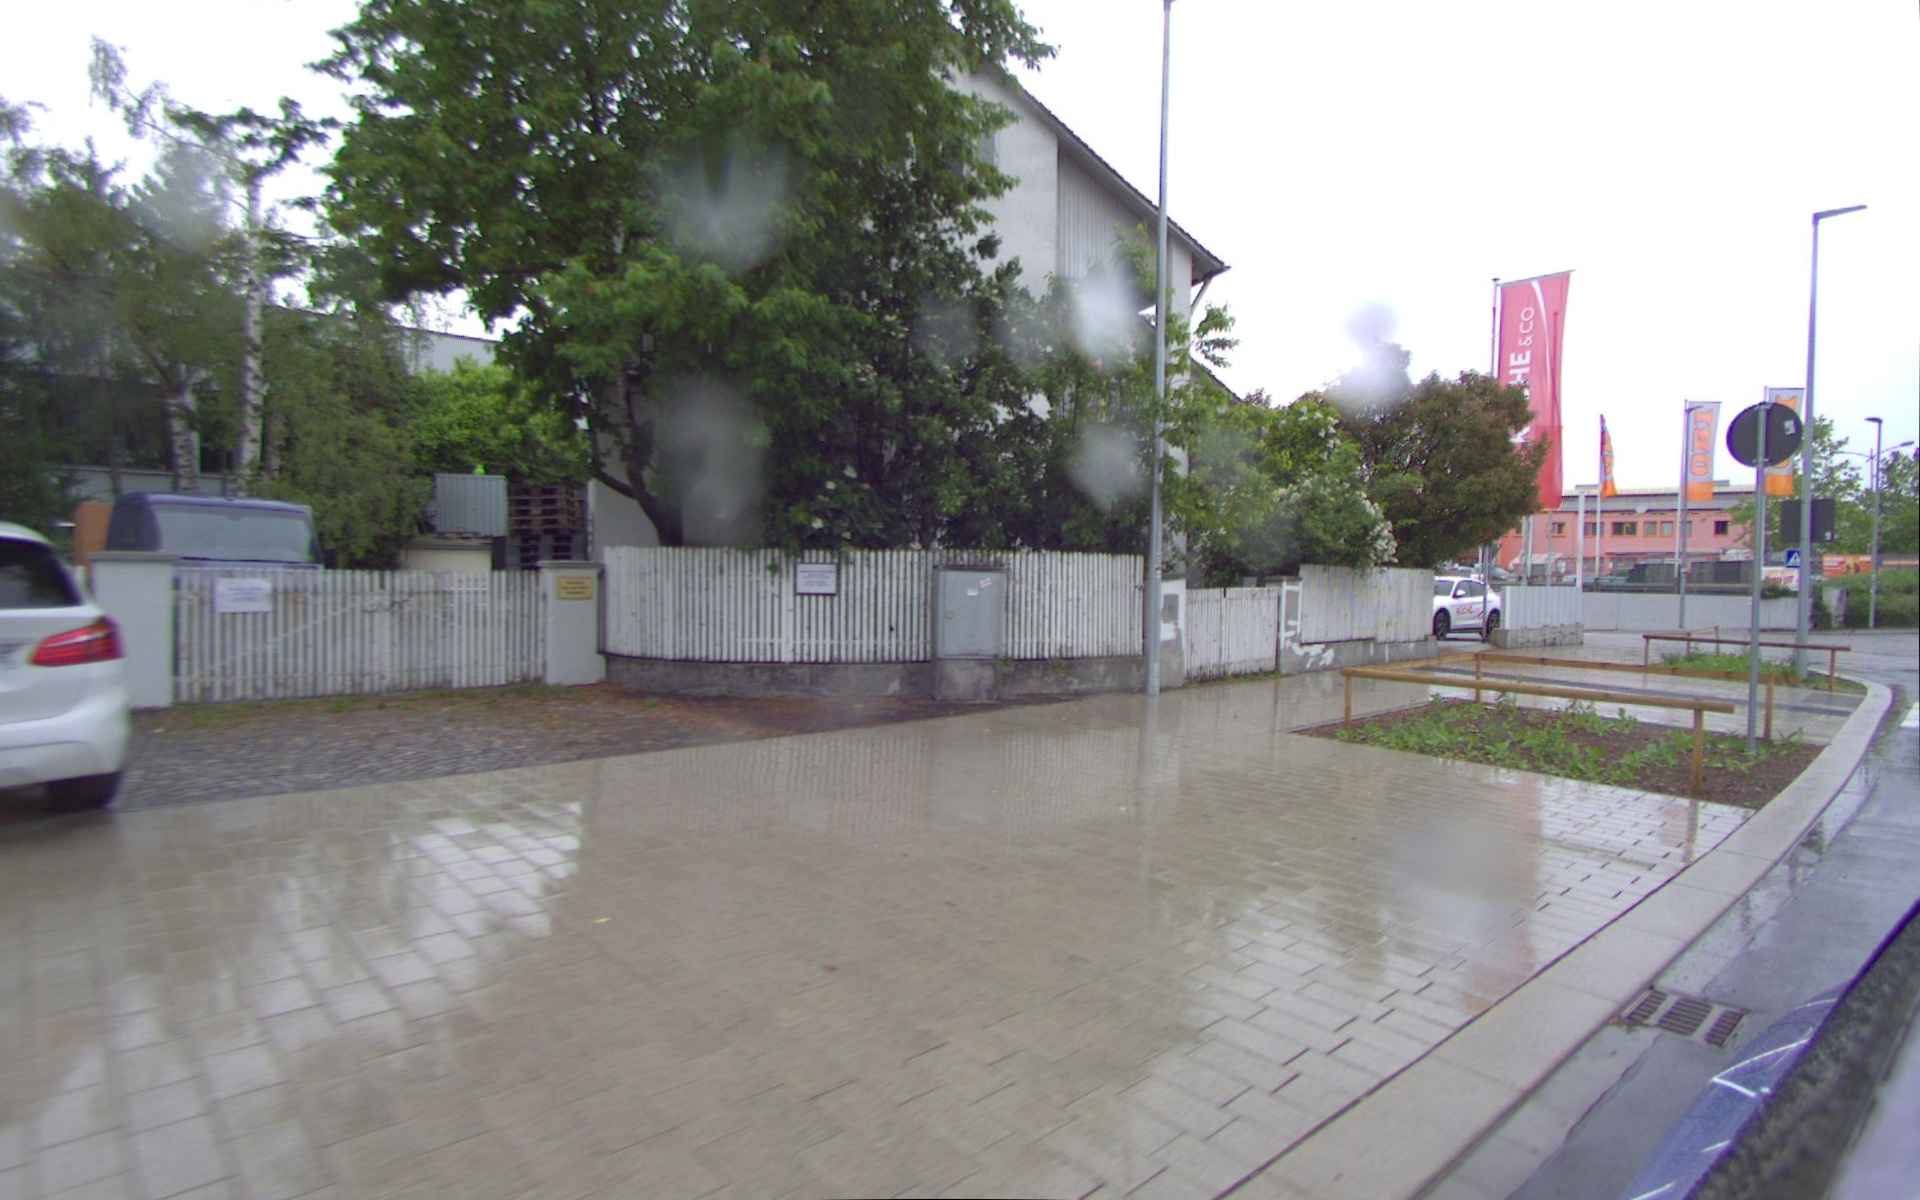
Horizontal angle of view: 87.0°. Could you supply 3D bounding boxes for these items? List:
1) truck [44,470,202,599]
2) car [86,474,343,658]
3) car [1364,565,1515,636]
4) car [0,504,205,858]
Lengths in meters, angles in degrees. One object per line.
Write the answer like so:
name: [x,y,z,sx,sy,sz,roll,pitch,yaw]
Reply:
truck: [-14.905,-1.053,17.948,3.985,1.861,1.690,-4,-1,44]
car: [-10.210,-0.502,13.692,4.845,2.045,2.087,4,3,45]
car: [12.551,0.016,26.418,4.092,1.712,1.847,1,1,-37]
car: [-6.137,0.262,5.549,4.115,1.600,1.976,4,2,34]
